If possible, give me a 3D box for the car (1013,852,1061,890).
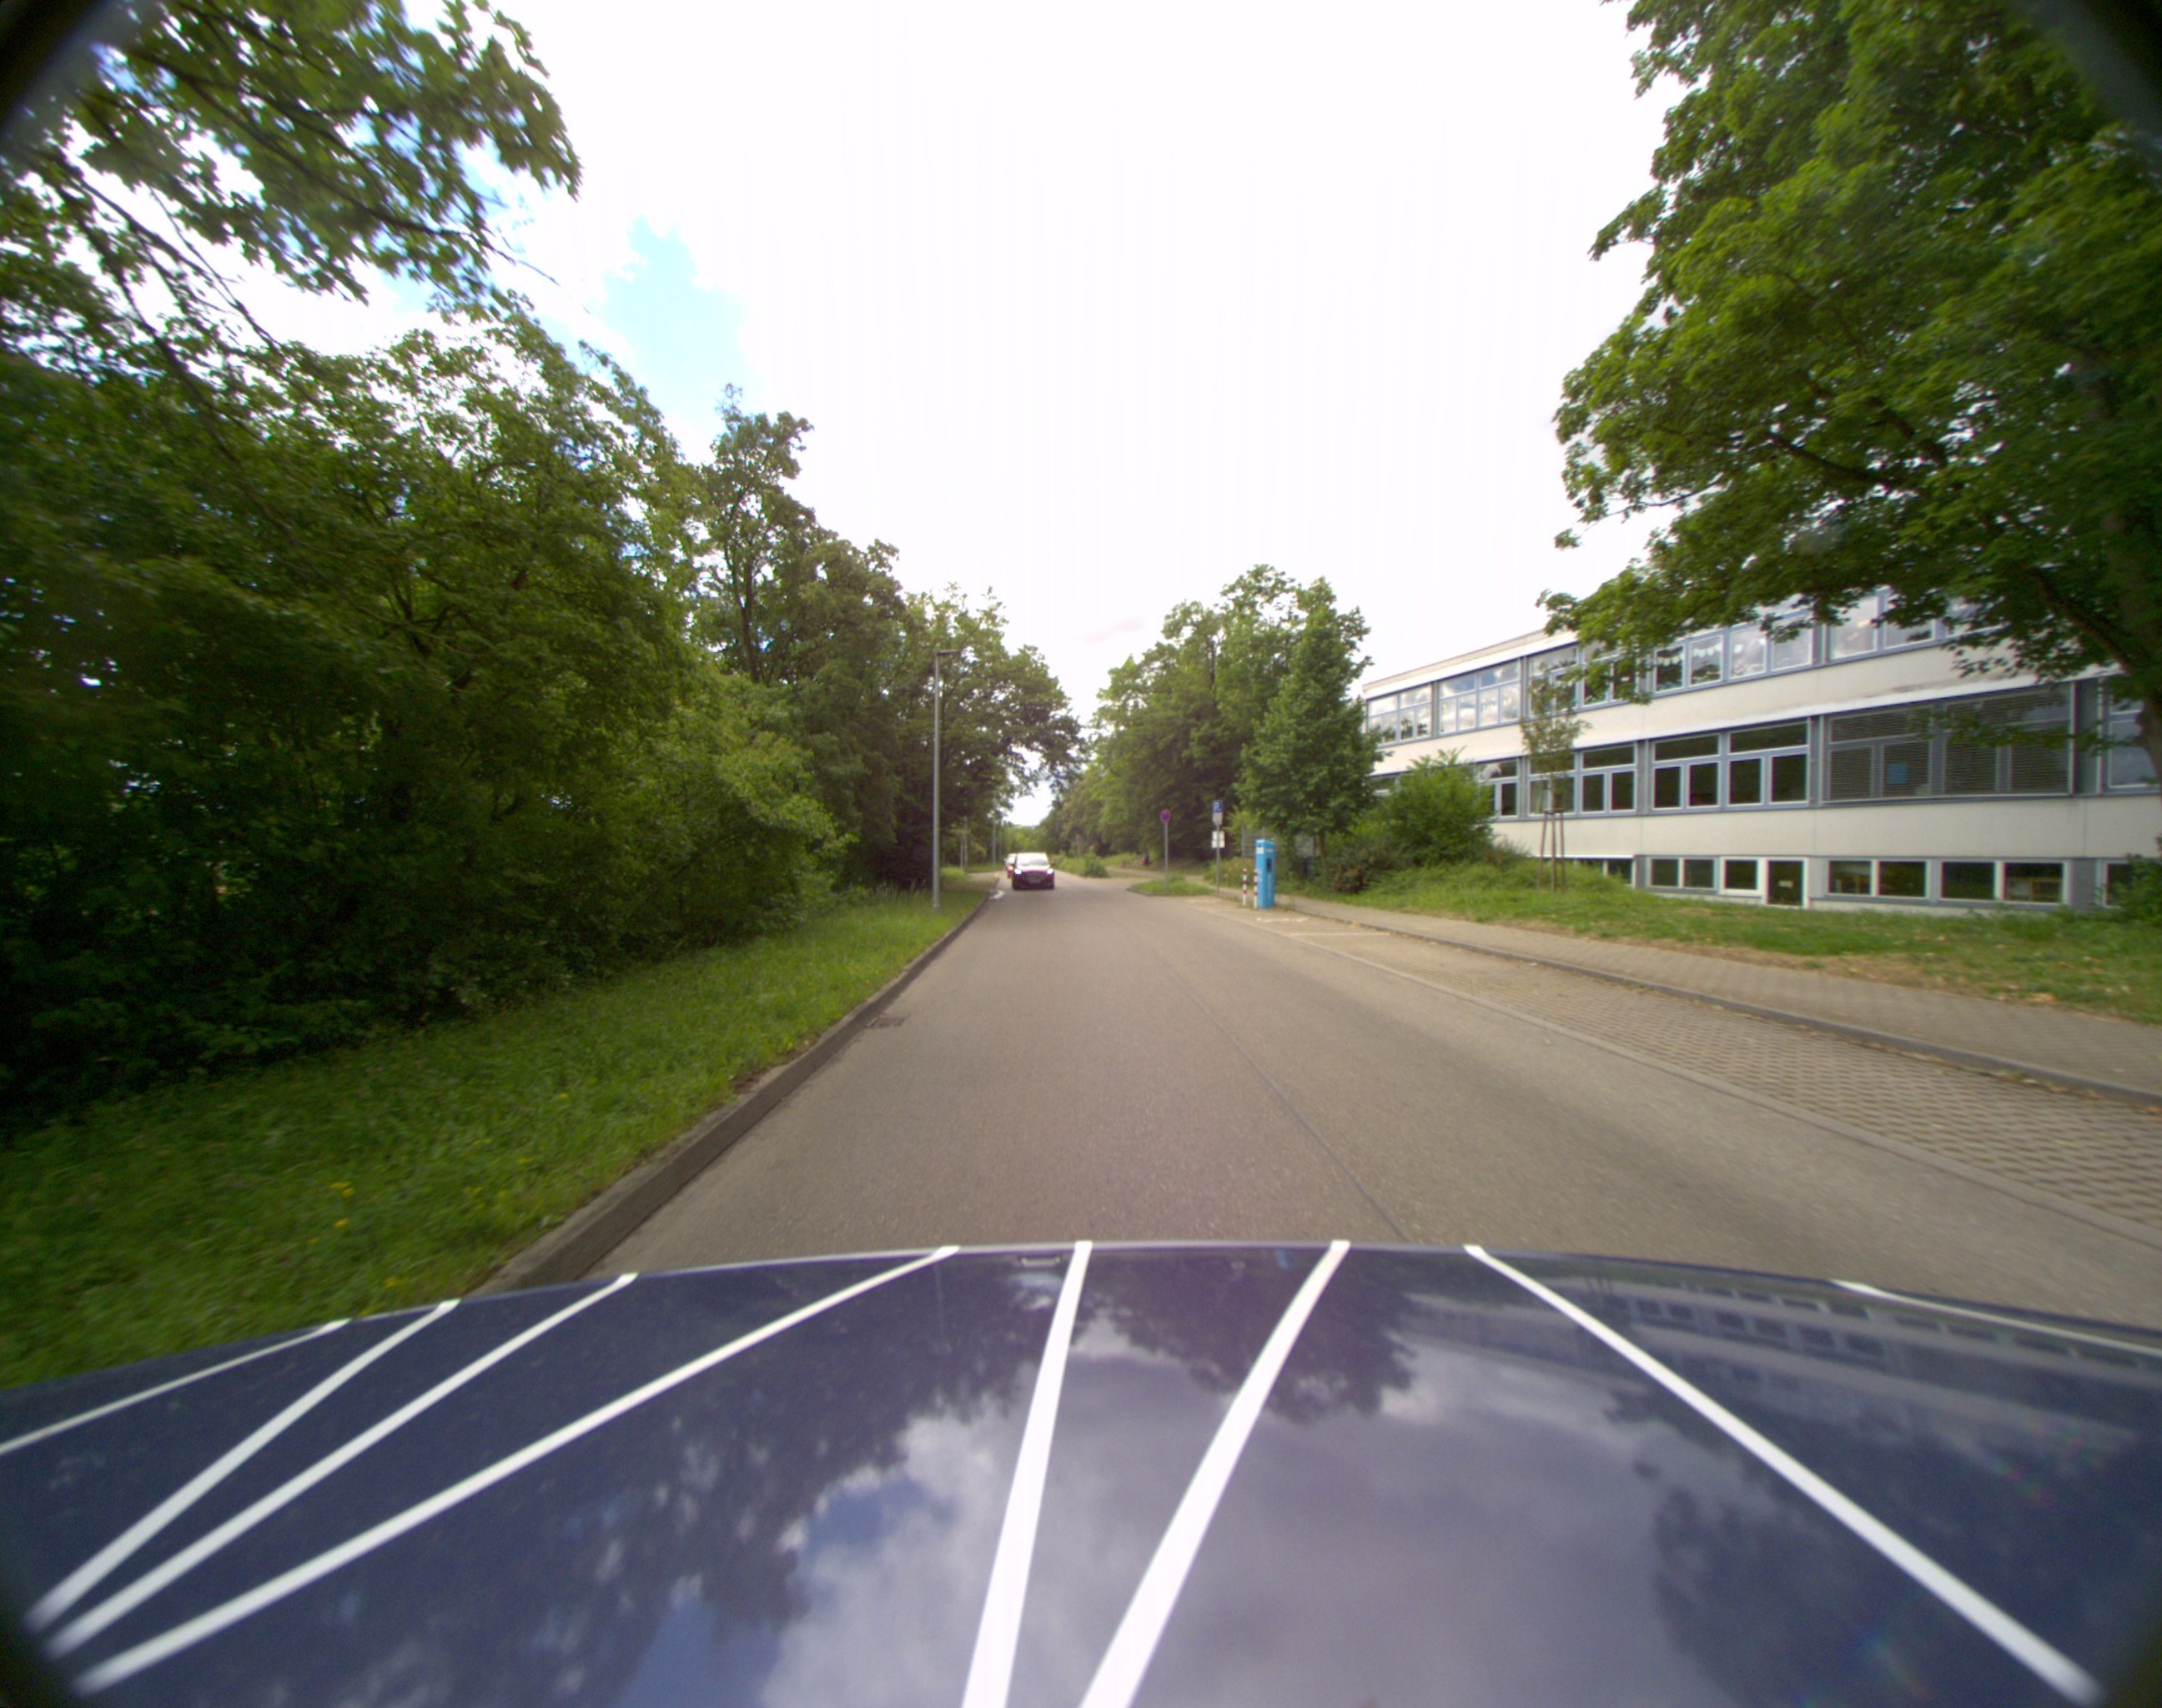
[{"bbox_3d":[-2.008,0.728,35.612,1.861,1.608,4.476,-2,0,1],"label":"car"}]

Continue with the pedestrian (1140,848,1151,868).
[{"bbox_3d":[5.498,0.357,65.092,0.762,1.653,0.808,0,0,-7],"label":"pedestrian"}]

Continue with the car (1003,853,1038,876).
[{"bbox_3d":[-4.293,0.712,53.616,2.000,1.565,3.996,0,0,-11],"label":"car"}]

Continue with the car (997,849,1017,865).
[{"bbox_3d":[-7.399,0.276,75.670,1.921,1.587,3.896,0,0,-6],"label":"car"}]
